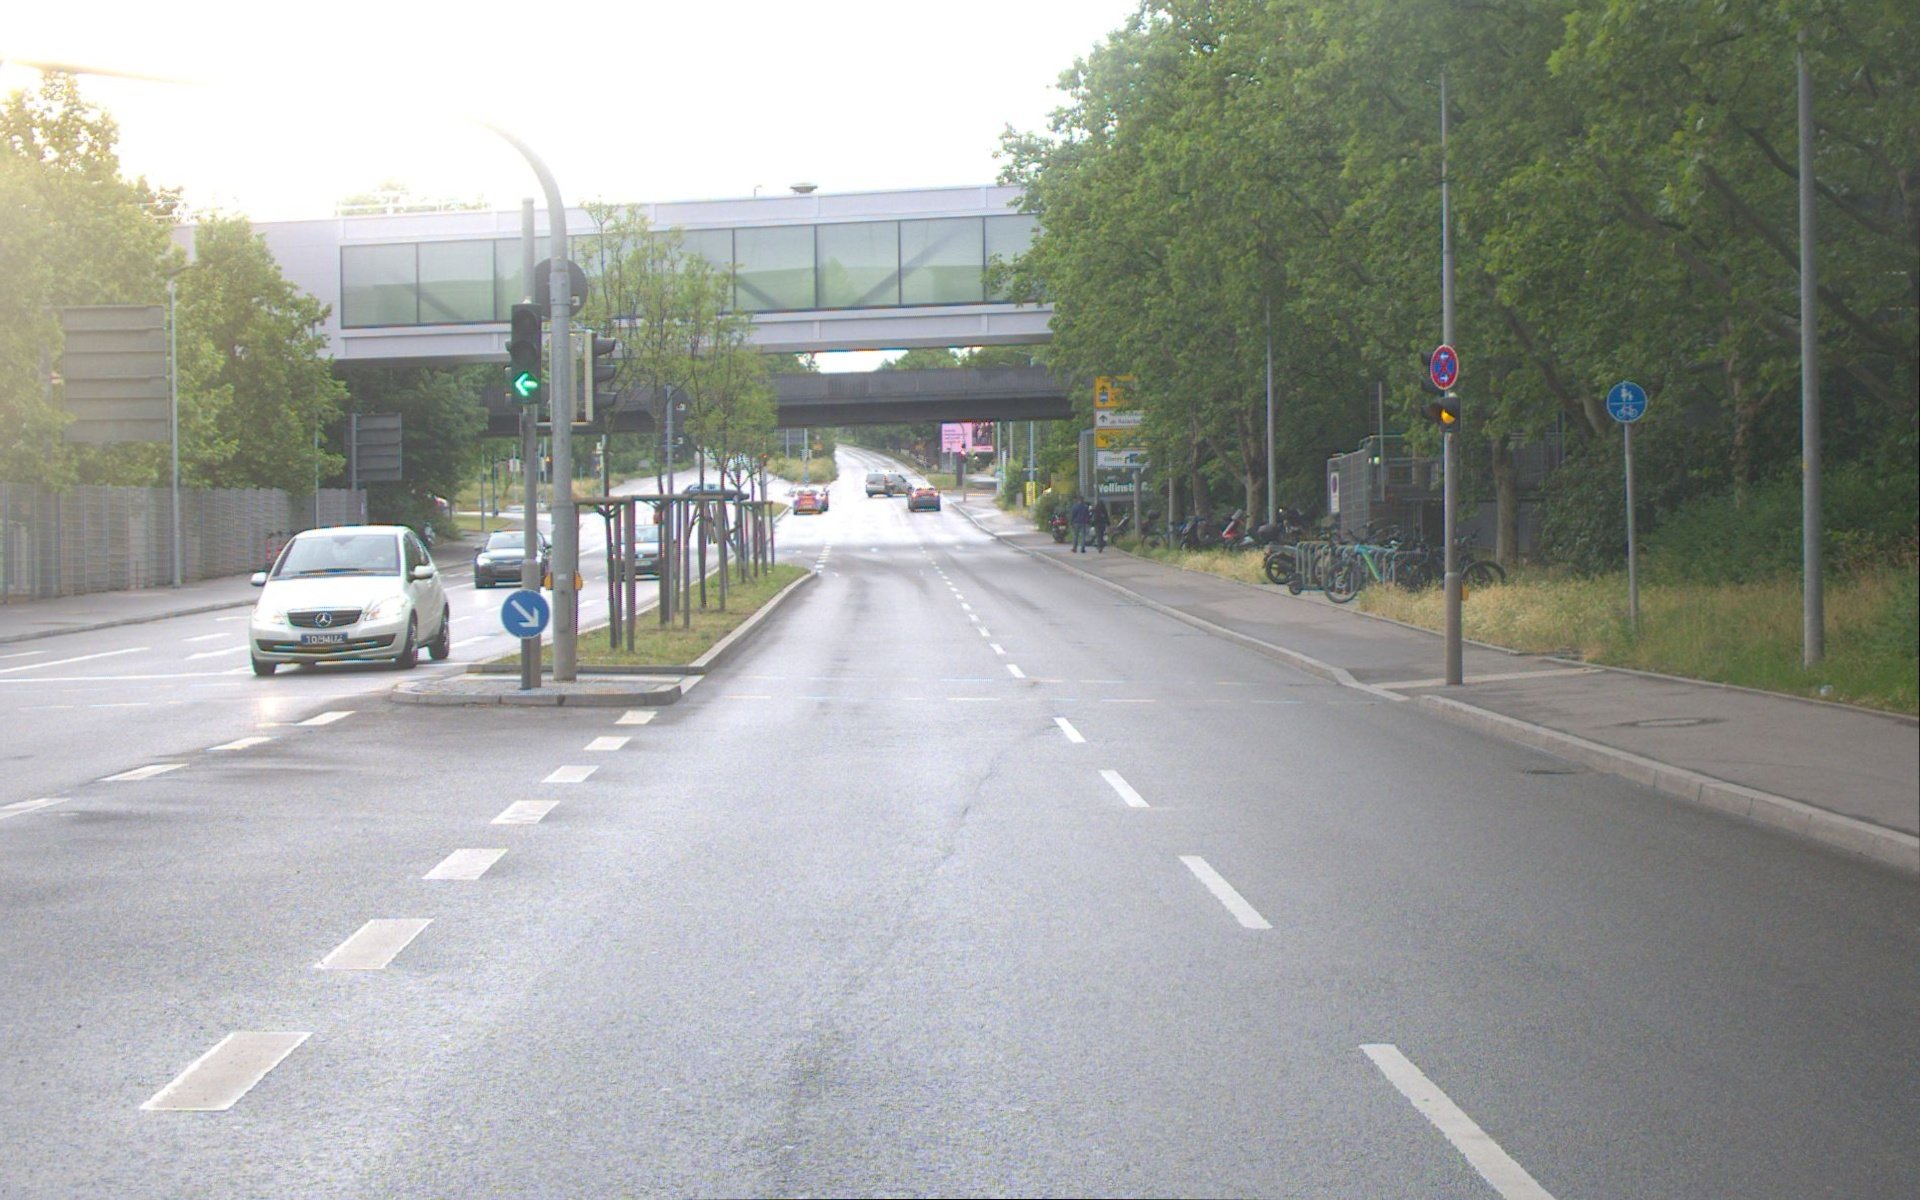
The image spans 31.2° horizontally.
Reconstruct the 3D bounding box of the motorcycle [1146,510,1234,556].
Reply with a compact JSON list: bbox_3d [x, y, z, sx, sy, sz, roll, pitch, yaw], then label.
[{"bbox_3d":[6.342,-1.845,94.790,2.369,1.198,0.722,-1,1,7],"label":"motorcycle"}]

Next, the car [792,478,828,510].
[{"bbox_3d":[-9.018,-6.368,206.692,1.993,1.756,4.000,2,0,0],"label":"car"}]

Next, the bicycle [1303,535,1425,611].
[{"bbox_3d":[6.930,-0.463,58.985,1.990,1.237,0.541,2,0,0],"label":"bicycle"}]

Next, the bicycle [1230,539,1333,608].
[{"bbox_3d":[6.471,-0.529,69.208,1.990,1.324,0.576,2,0,0],"label":"bicycle"}]

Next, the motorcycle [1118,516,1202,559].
[{"bbox_3d":[5.807,-1.813,99.845,2.369,1.198,0.722,-1,1,7],"label":"motorcycle"}]

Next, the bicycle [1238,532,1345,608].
[{"bbox_3d":[6.517,-0.587,67.642,1.990,1.425,0.723,2,0,0],"label":"bicycle"}]

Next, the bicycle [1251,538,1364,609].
[{"bbox_3d":[6.384,-0.488,63.251,1.990,1.237,0.541,2,0,0],"label":"bicycle"}]

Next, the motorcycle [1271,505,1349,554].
[{"bbox_3d":[10.916,-2.190,107.115,2.369,1.471,0.722,-1,1,7],"label":"motorcycle"}]

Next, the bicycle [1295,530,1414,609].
[{"bbox_3d":[6.913,-0.532,60.236,1.990,1.336,0.541,2,0,0],"label":"bicycle"}]

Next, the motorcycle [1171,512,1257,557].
[{"bbox_3d":[7.164,-1.855,96.935,2.369,1.198,0.722,-1,1,7],"label":"motorcycle"}]

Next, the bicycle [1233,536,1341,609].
[{"bbox_3d":[6.264,-0.528,65.965,1.990,1.324,0.576,2,0,0],"label":"bicycle"}]

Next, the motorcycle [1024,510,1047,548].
[{"bbox_3d":[3.188,-2.984,144.716,0.790,1.528,2.377,-2,1,-2],"label":"motorcycle"}]

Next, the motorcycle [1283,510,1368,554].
[{"bbox_3d":[10.527,-1.950,98.976,2.369,1.198,0.722,-1,1,7],"label":"motorcycle"}]

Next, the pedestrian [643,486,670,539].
[{"bbox_3d":[-11.610,-3.342,131.581,0.872,1.997,0.855,-1,1,4],"label":"pedestrian"}]

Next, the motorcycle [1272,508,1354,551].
[{"bbox_3d":[10.402,-2.069,101.354,2.369,1.198,0.722,-1,1,7],"label":"motorcycle"}]

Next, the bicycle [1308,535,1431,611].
[{"bbox_3d":[6.922,-0.458,58.158,1.990,1.229,0.541,2,0,0],"label":"bicycle"}]

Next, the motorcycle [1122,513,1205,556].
[{"bbox_3d":[6.021,-1.942,101.616,2.369,1.198,0.722,-1,1,7],"label":"motorcycle"}]

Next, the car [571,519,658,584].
[{"bbox_3d":[-8.988,-1.268,89.656,1.877,1.619,3.779,-1,1,0],"label":"car"}]

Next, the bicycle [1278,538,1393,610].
[{"bbox_3d":[6.768,-0.474,61.963,1.990,1.237,0.541,2,0,0],"label":"bicycle"}]

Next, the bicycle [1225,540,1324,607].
[{"bbox_3d":[6.503,-0.544,71.135,1.963,1.324,0.654,2,0,0],"label":"bicycle"}]

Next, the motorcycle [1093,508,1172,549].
[{"bbox_3d":[5.298,-2.206,105.517,2.369,1.198,0.722,-1,1,7],"label":"motorcycle"}]

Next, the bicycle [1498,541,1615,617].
[{"bbox_3d":[10.875,-0.390,62.692,1.990,1.324,0.576,2,0,0],"label":"bicycle"}]

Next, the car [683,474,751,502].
[{"bbox_3d":[-16.663,-7.667,235.943,4.510,1.756,1.905,2,0,0],"label":"car"}]

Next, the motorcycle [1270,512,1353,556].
[{"bbox_3d":[10.243,-1.926,100.238,2.369,1.198,0.722,-1,1,7],"label":"motorcycle"}]

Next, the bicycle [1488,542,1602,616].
[{"bbox_3d":[10.885,-0.392,64.009,1.990,1.324,0.576,2,0,0],"label":"bicycle"}]

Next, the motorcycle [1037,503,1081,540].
[{"bbox_3d":[3.596,-2.850,125.423,0.790,1.307,2.377,-2,1,-19],"label":"motorcycle"}]

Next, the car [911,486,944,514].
[{"bbox_3d":[-1.904,-5.895,203.017,1.875,1.492,4.068,2,0,0],"label":"car"}]

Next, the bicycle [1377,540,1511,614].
[{"bbox_3d":[7.586,-0.361,53.942,1.990,1.091,0.541,2,0,0],"label":"bicycle"}]

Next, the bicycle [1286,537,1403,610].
[{"bbox_3d":[6.808,-0.471,60.928,1.990,1.237,0.541,2,0,0],"label":"bicycle"}]

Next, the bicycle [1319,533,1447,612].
[{"bbox_3d":[6.881,-0.446,55.969,1.990,1.212,0.541,2,0,0],"label":"bicycle"}]

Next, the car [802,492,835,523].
[{"bbox_3d":[-8.752,-5.708,212.565,1.884,1.756,3.969,2,0,0],"label":"car"}]

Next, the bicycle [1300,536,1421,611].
[{"bbox_3d":[6.931,-0.464,59.560,1.990,1.237,0.541,2,0,0],"label":"bicycle"}]

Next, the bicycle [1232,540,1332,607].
[{"bbox_3d":[6.597,-0.539,70.445,1.960,1.324,0.576,2,0,0],"label":"bicycle"}]

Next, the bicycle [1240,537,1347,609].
[{"bbox_3d":[6.482,-0.524,66.909,1.990,1.324,0.576,2,0,0],"label":"bicycle"}]

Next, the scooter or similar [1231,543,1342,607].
[{"bbox_3d":[6.072,-0.461,64.043,1.990,1.134,0.541,2,0,0],"label":"scooter or similar"}]

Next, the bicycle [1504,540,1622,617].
[{"bbox_3d":[10.882,-0.388,62.027,1.990,1.324,0.576,2,0,0],"label":"bicycle"}]

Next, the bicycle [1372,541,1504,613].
[{"bbox_3d":[7.580,-0.362,54.510,1.990,1.091,0.541,2,0,0],"label":"bicycle"}]

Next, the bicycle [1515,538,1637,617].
[{"bbox_3d":[10.736,-0.388,59.934,1.990,1.324,0.576,2,0,0],"label":"bicycle"}]

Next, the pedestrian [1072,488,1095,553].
[{"bbox_3d":[3.822,-2.451,106.233,0.622,2.007,0.605,-2,1,0],"label":"pedestrian"}]

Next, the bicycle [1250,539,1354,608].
[{"bbox_3d":[6.807,-0.529,68.497,1.990,1.324,0.576,2,0,0],"label":"bicycle"}]

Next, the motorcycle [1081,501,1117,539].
[{"bbox_3d":[4.934,-2.830,122.276,0.790,1.307,2.377,-2,1,-9],"label":"motorcycle"}]

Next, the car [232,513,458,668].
[{"bbox_3d":[-6.884,-0.140,38.830,1.877,1.619,3.779,-1,1,0],"label":"car"}]

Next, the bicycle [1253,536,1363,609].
[{"bbox_3d":[6.597,-0.517,65.156,1.990,1.324,0.576,2,0,0],"label":"bicycle"}]

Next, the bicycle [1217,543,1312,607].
[{"bbox_3d":[6.582,-0.548,74.455,1.963,1.324,0.654,2,0,0],"label":"bicycle"}]

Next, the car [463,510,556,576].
[{"bbox_3d":[-11.455,-1.457,87.686,1.877,1.619,3.779,-1,1,0],"label":"car"}]
